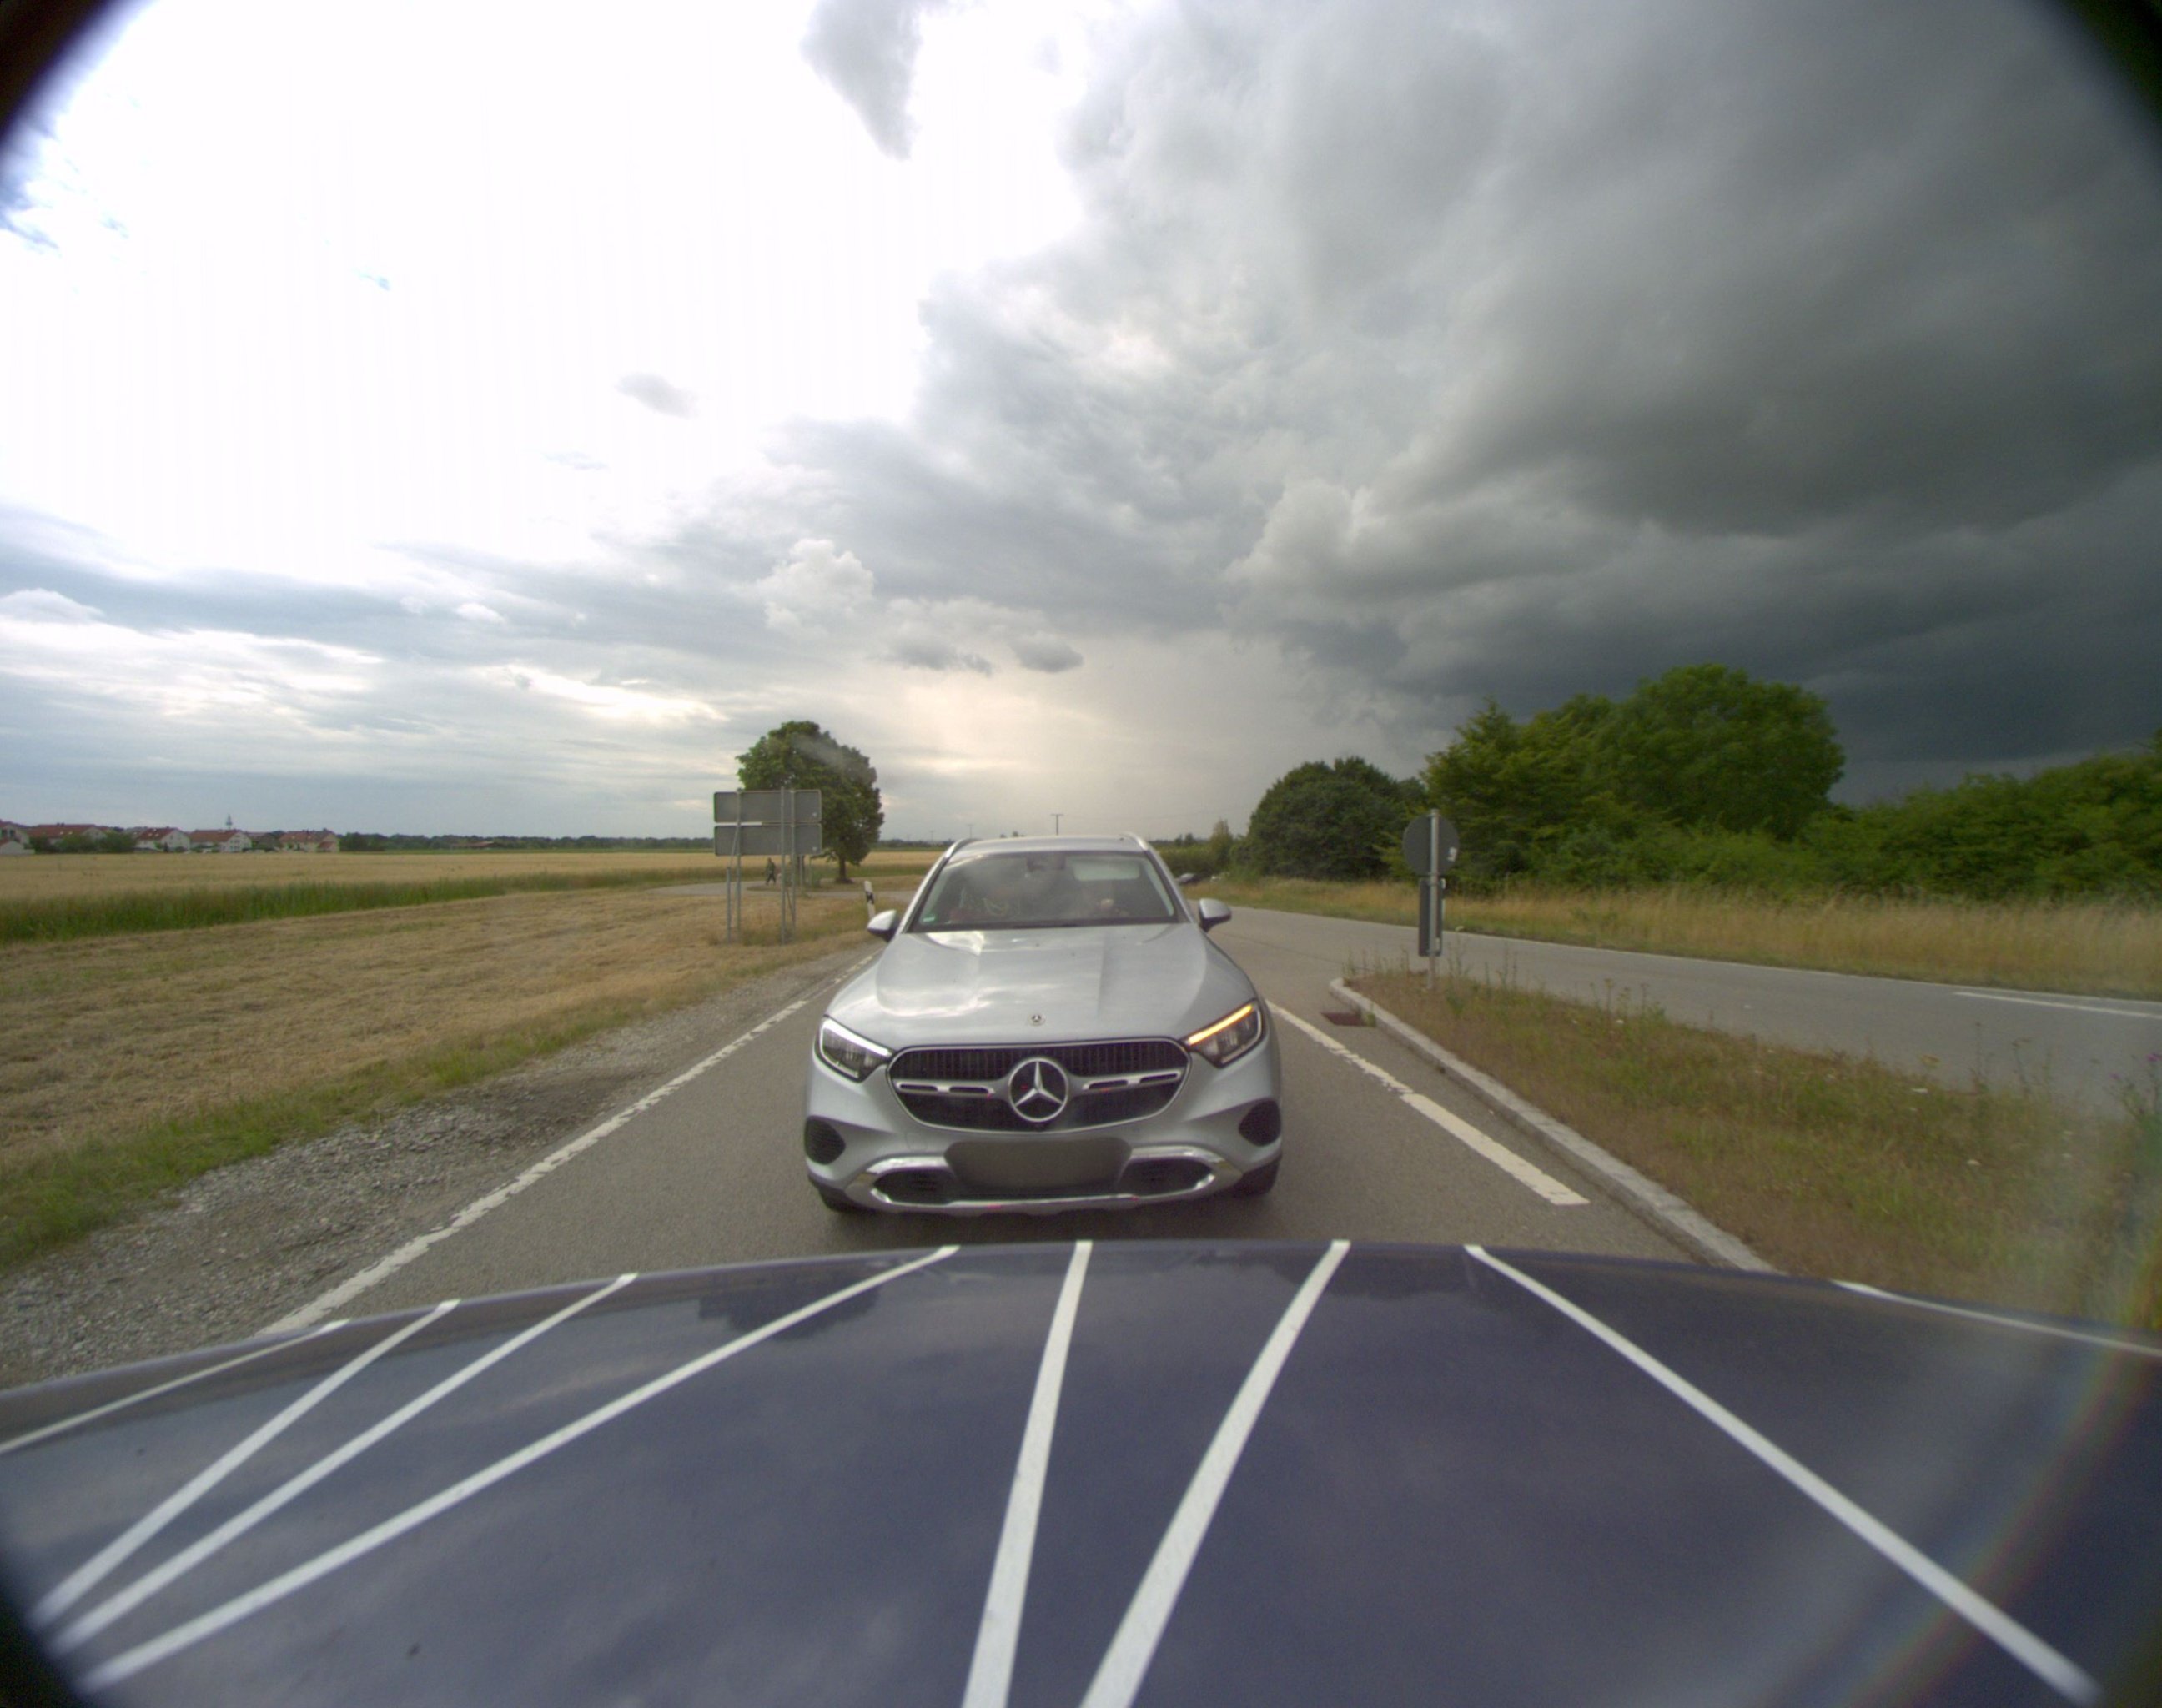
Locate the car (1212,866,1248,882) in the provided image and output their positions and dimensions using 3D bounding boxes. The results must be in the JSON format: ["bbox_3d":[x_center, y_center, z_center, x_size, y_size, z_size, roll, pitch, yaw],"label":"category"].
[{"bbox_3d":[16.294,2.167,83.029,4.008,1.524,1.817,-1,1,-44],"label":"car"}]

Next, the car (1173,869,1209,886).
[{"bbox_3d":[11.267,2.401,77.963,1.817,1.524,4.008,1,1,40],"label":"car"}]

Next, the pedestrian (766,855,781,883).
[{"bbox_3d":[-17.983,0.839,44.412,0.774,1.602,0.943,-1,1,-21],"label":"pedestrian"}]

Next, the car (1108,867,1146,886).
[{"bbox_3d":[4.125,2.006,67.467,1.817,1.524,4.008,1,1,30],"label":"car"}]

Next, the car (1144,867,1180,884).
[{"bbox_3d":[7.885,2.079,73.672,1.817,1.524,4.008,1,1,34],"label":"car"}]

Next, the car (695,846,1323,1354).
[{"bbox_3d":[-0.235,0.789,4.694,1.996,1.577,4.393,-2,1,0],"label":"car"}]

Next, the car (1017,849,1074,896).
[{"bbox_3d":[-1.221,0.570,25.914,1.721,1.345,4.212,-2,1,-3],"label":"car"}]
